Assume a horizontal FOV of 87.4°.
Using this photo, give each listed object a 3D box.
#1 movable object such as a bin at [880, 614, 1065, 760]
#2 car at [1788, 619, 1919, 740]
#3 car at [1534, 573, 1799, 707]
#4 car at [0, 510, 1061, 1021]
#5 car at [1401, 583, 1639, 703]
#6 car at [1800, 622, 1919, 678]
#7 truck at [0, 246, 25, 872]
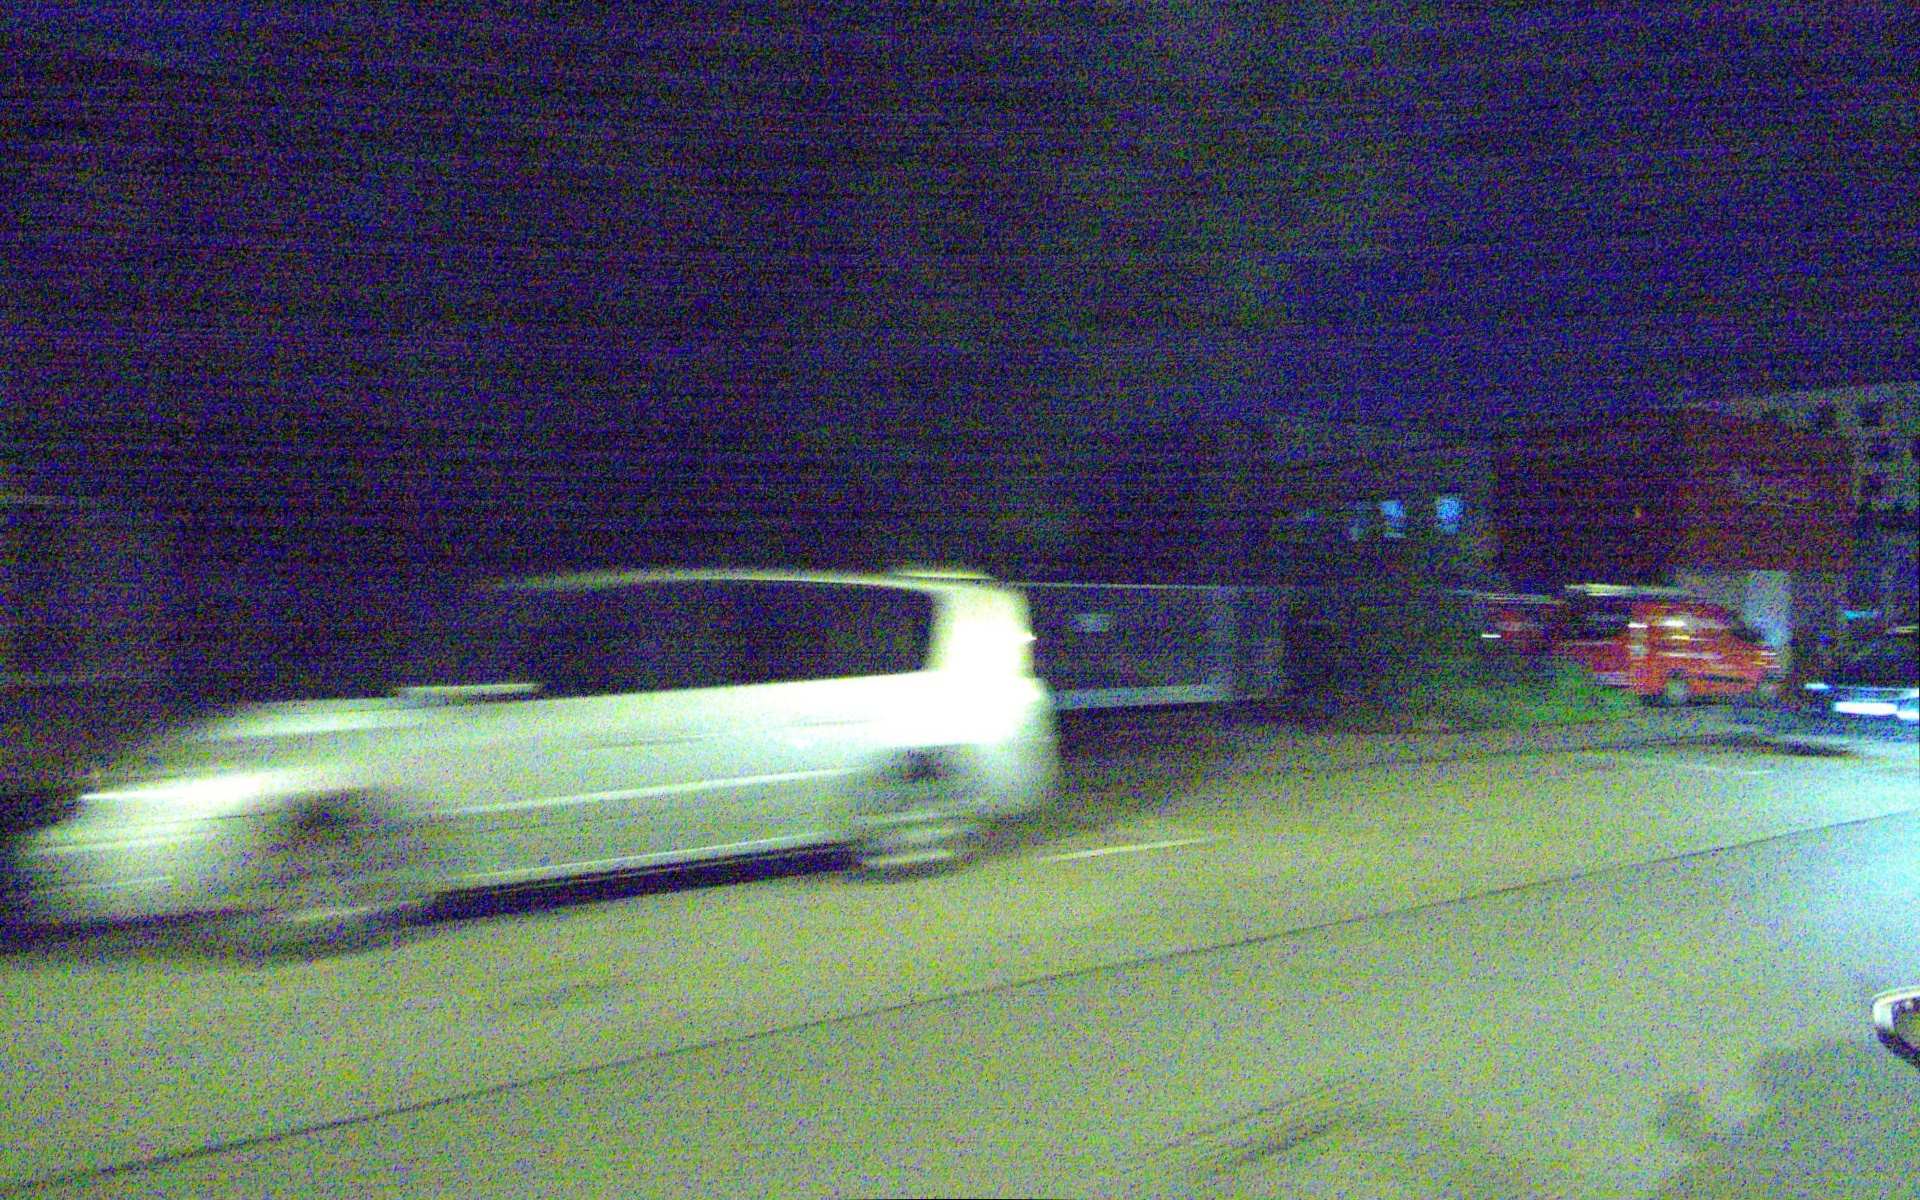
[{"bbox_3d":[0.074,0.930,11.748,1.395,1.514,2.332,1,-1,-22],"label":"movable object such as a bin"},{"bbox_3d":[13.978,1.078,14.361,4.266,1.546,1.749,1,-1,-27],"label":"car"},{"bbox_3d":[13.782,0.784,19.590,4.898,2.352,1.989,1,-3,-24],"label":"car"},{"bbox_3d":[-1.915,0.657,5.557,4.780,1.840,1.821,1,-2,-30],"label":"car"},{"bbox_3d":[12.022,0.893,21.581,4.560,2.352,2.202,1,-1,-24],"label":"car"},{"bbox_3d":[27.796,1.457,29.831,1.794,1.591,3.972,1,-2,-27],"label":"car"},{"bbox_3d":[-7.773,-0.276,2.697,7.225,3.324,2.532,1,-1,-30],"label":"truck"}]
